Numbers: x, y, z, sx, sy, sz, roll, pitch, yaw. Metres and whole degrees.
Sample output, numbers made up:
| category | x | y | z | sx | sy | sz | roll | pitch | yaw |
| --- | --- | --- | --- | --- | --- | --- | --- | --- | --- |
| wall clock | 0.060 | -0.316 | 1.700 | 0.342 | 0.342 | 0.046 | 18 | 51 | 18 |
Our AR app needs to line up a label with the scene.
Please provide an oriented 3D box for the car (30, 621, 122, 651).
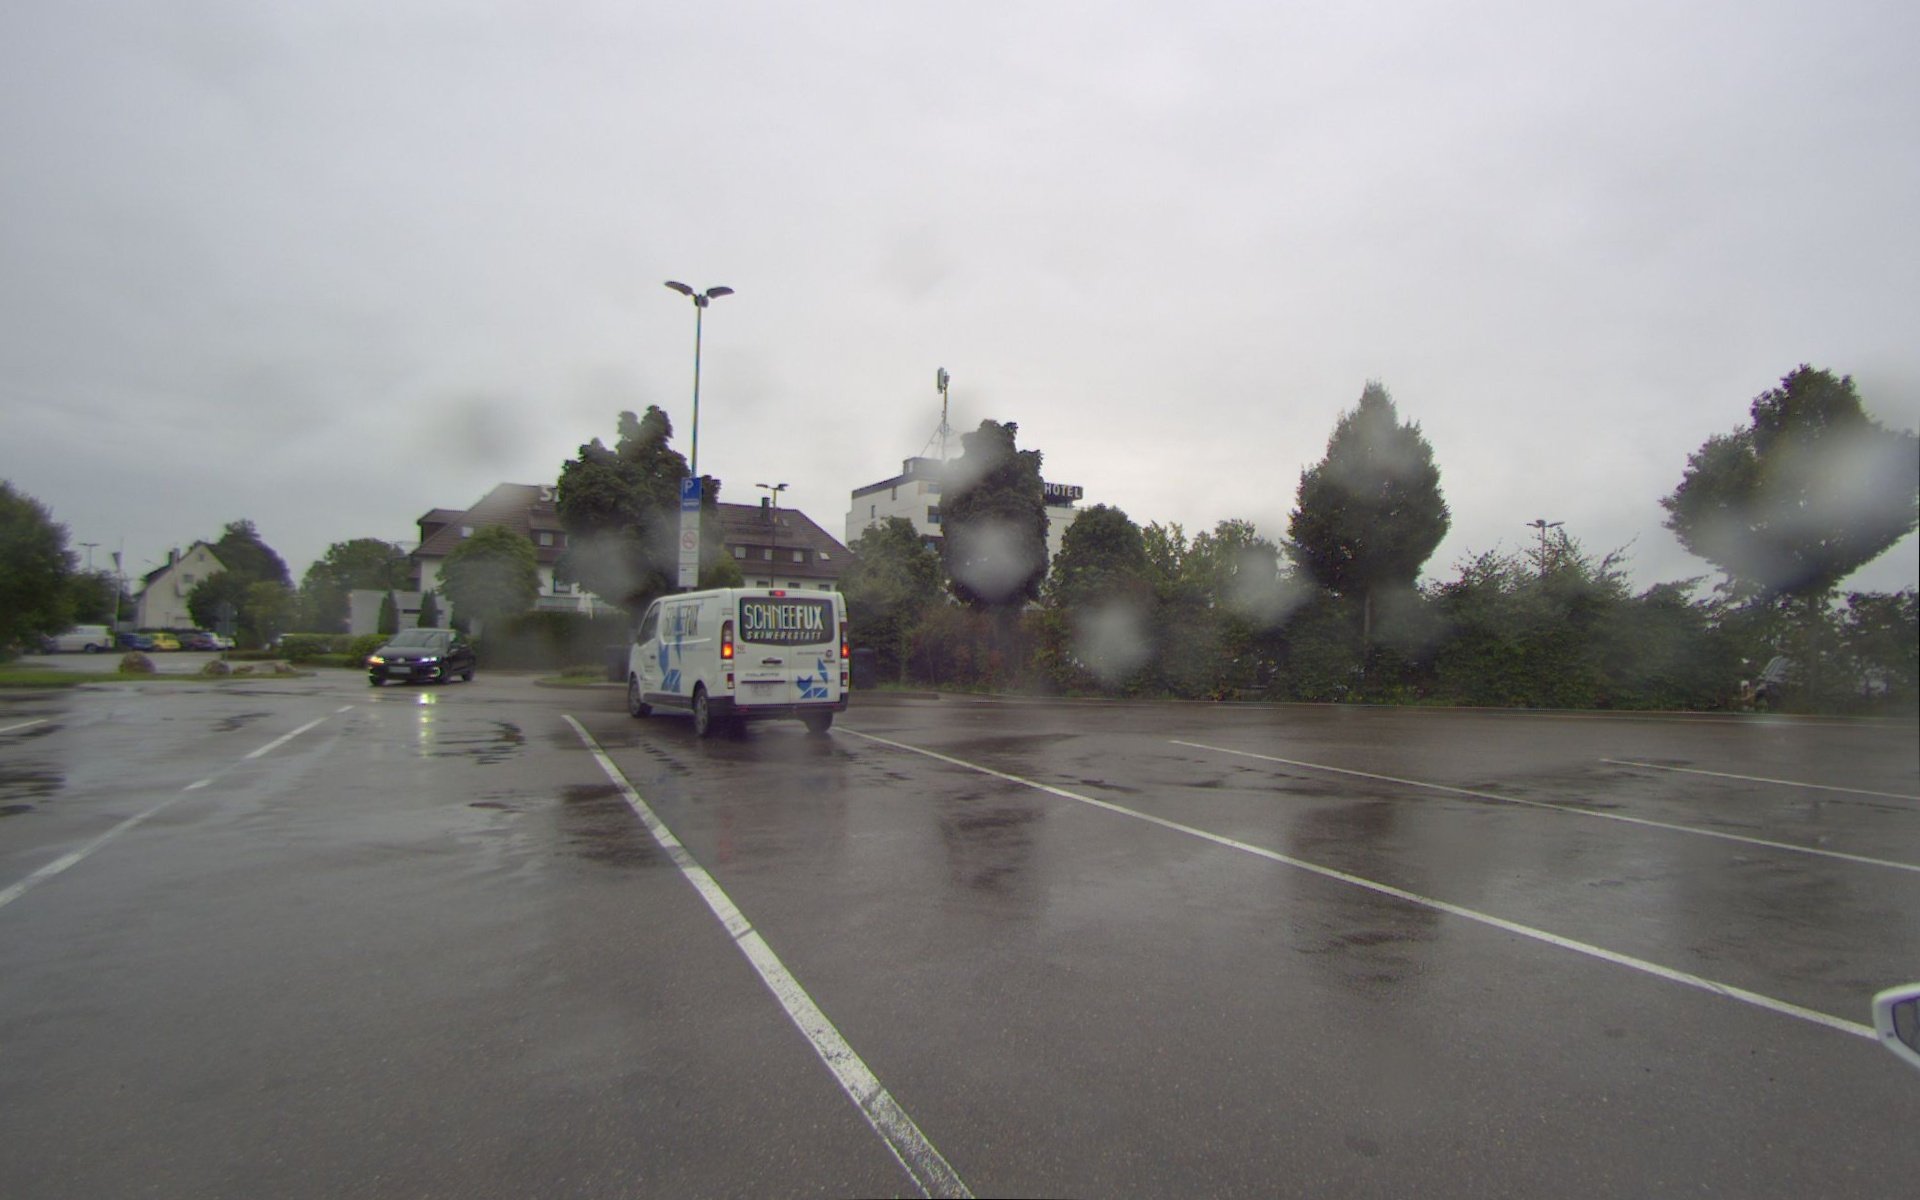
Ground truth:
| category | x | y | z | sx | sy | sz | roll | pitch | yaw |
| --- | --- | --- | --- | --- | --- | --- | --- | --- | --- |
| car | -61.439 | 2.504 | 69.905 | 4.482 | 2.060 | 1.632 | 2 | -2 | -30 |

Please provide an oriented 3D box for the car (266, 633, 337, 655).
| category | x | y | z | sx | sy | sz | roll | pitch | yaw |
| --- | --- | --- | --- | --- | --- | --- | --- | --- | --- |
| car | -47.797 | 3.177 | 72.995 | 4.140 | 1.517 | 1.704 | 1 | -2 | -31 |

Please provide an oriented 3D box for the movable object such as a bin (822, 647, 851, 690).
| category | x | y | z | sx | sy | sz | roll | pitch | yaw |
| --- | --- | --- | --- | --- | --- | --- | --- | --- | --- |
| movable object such as a bin | -2.785 | 1.535 | 22.659 | 0.490 | 0.932 | 0.412 | 2 | -2 | -38 |

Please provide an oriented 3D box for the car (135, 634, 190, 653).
| category | x | y | z | sx | sy | sz | roll | pitch | yaw |
| --- | --- | --- | --- | --- | --- | --- | --- | --- | --- |
| car | -63.688 | 3.459 | 80.191 | 3.606 | 1.477 | 1.557 | 0 | -2 | 14 |

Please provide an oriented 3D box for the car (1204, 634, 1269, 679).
| category | x | y | z | sx | sy | sz | roll | pitch | yaw |
| --- | --- | --- | --- | --- | --- | --- | --- | --- | --- |
| car | 10.013 | 2.004 | 36.132 | 1.849 | 1.491 | 4.769 | -1 | -3 | 20 |

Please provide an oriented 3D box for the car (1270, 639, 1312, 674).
| category | x | y | z | sx | sy | sz | roll | pitch | yaw |
| --- | --- | --- | --- | --- | --- | --- | --- | --- | --- |
| car | 17.294 | 2.930 | 52.373 | 1.765 | 1.715 | 4.048 | -1 | -3 | 22 |

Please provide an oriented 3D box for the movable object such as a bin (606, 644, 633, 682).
| category | x | y | z | sx | sy | sz | roll | pitch | yaw |
| --- | --- | --- | --- | --- | --- | --- | --- | --- | --- |
| movable object such as a bin | -8.609 | 1.589 | 25.405 | 0.481 | 0.951 | 0.448 | -1 | -2 | 41 |

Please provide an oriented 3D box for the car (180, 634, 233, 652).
| category | x | y | z | sx | sy | sz | roll | pitch | yaw |
| --- | --- | --- | --- | --- | --- | --- | --- | --- | --- |
| car | -62.629 | 3.578 | 83.467 | 3.606 | 1.477 | 1.587 | 0 | -2 | 14 |

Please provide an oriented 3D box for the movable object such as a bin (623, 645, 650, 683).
| category | x | y | z | sx | sy | sz | roll | pitch | yaw |
| --- | --- | --- | --- | --- | --- | --- | --- | --- | --- |
| movable object such as a bin | -8.115 | 1.598 | 25.172 | 0.481 | 0.929 | 0.448 | -1 | -2 | 41 |

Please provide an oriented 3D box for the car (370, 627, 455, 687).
| category | x | y | z | sx | sy | sz | roll | pitch | yaw |
| --- | --- | --- | --- | --- | --- | --- | --- | --- | --- |
| car | -14.547 | 1.475 | 26.855 | 1.756 | 1.452 | 4.052 | 1 | -2 | -26 |

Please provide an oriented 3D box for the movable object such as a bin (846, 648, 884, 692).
| category | x | y | z | sx | sy | sz | roll | pitch | yaw |
| --- | --- | --- | --- | --- | --- | --- | --- | --- | --- |
| movable object such as a bin | -2.098 | 1.529 | 22.163 | 0.625 | 0.932 | 0.551 | 2 | -2 | -38 |

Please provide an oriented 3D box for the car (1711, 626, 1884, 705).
| category | x | y | z | sx | sy | sz | roll | pitch | yaw |
| --- | --- | --- | --- | --- | --- | --- | --- | --- | --- |
| car | 19.099 | 1.466 | 23.139 | 1.751 | 1.649 | 4.095 | -1 | -3 | 20 |

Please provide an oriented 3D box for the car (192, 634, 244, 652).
| category | x | y | z | sx | sy | sz | roll | pitch | yaw |
| --- | --- | --- | --- | --- | --- | --- | --- | --- | --- |
| car | -62.998 | 3.639 | 85.314 | 3.606 | 1.477 | 1.587 | 0 | -2 | 14 |

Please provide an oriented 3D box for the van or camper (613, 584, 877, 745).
| category | x | y | z | sx | sy | sz | roll | pitch | yaw |
| --- | --- | --- | --- | --- | --- | --- | --- | --- | --- |
| van or camper | -3.439 | 0.886 | 15.115 | 2.171 | 1.970 | 5.151 | 3 | -3 | -33 |

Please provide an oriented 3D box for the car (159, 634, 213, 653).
| category | x | y | z | sx | sy | sz | roll | pitch | yaw |
| --- | --- | --- | --- | --- | --- | --- | --- | --- | --- |
| car | -63.060 | 3.518 | 81.820 | 3.606 | 1.477 | 1.587 | 0 | -2 | 14 |
